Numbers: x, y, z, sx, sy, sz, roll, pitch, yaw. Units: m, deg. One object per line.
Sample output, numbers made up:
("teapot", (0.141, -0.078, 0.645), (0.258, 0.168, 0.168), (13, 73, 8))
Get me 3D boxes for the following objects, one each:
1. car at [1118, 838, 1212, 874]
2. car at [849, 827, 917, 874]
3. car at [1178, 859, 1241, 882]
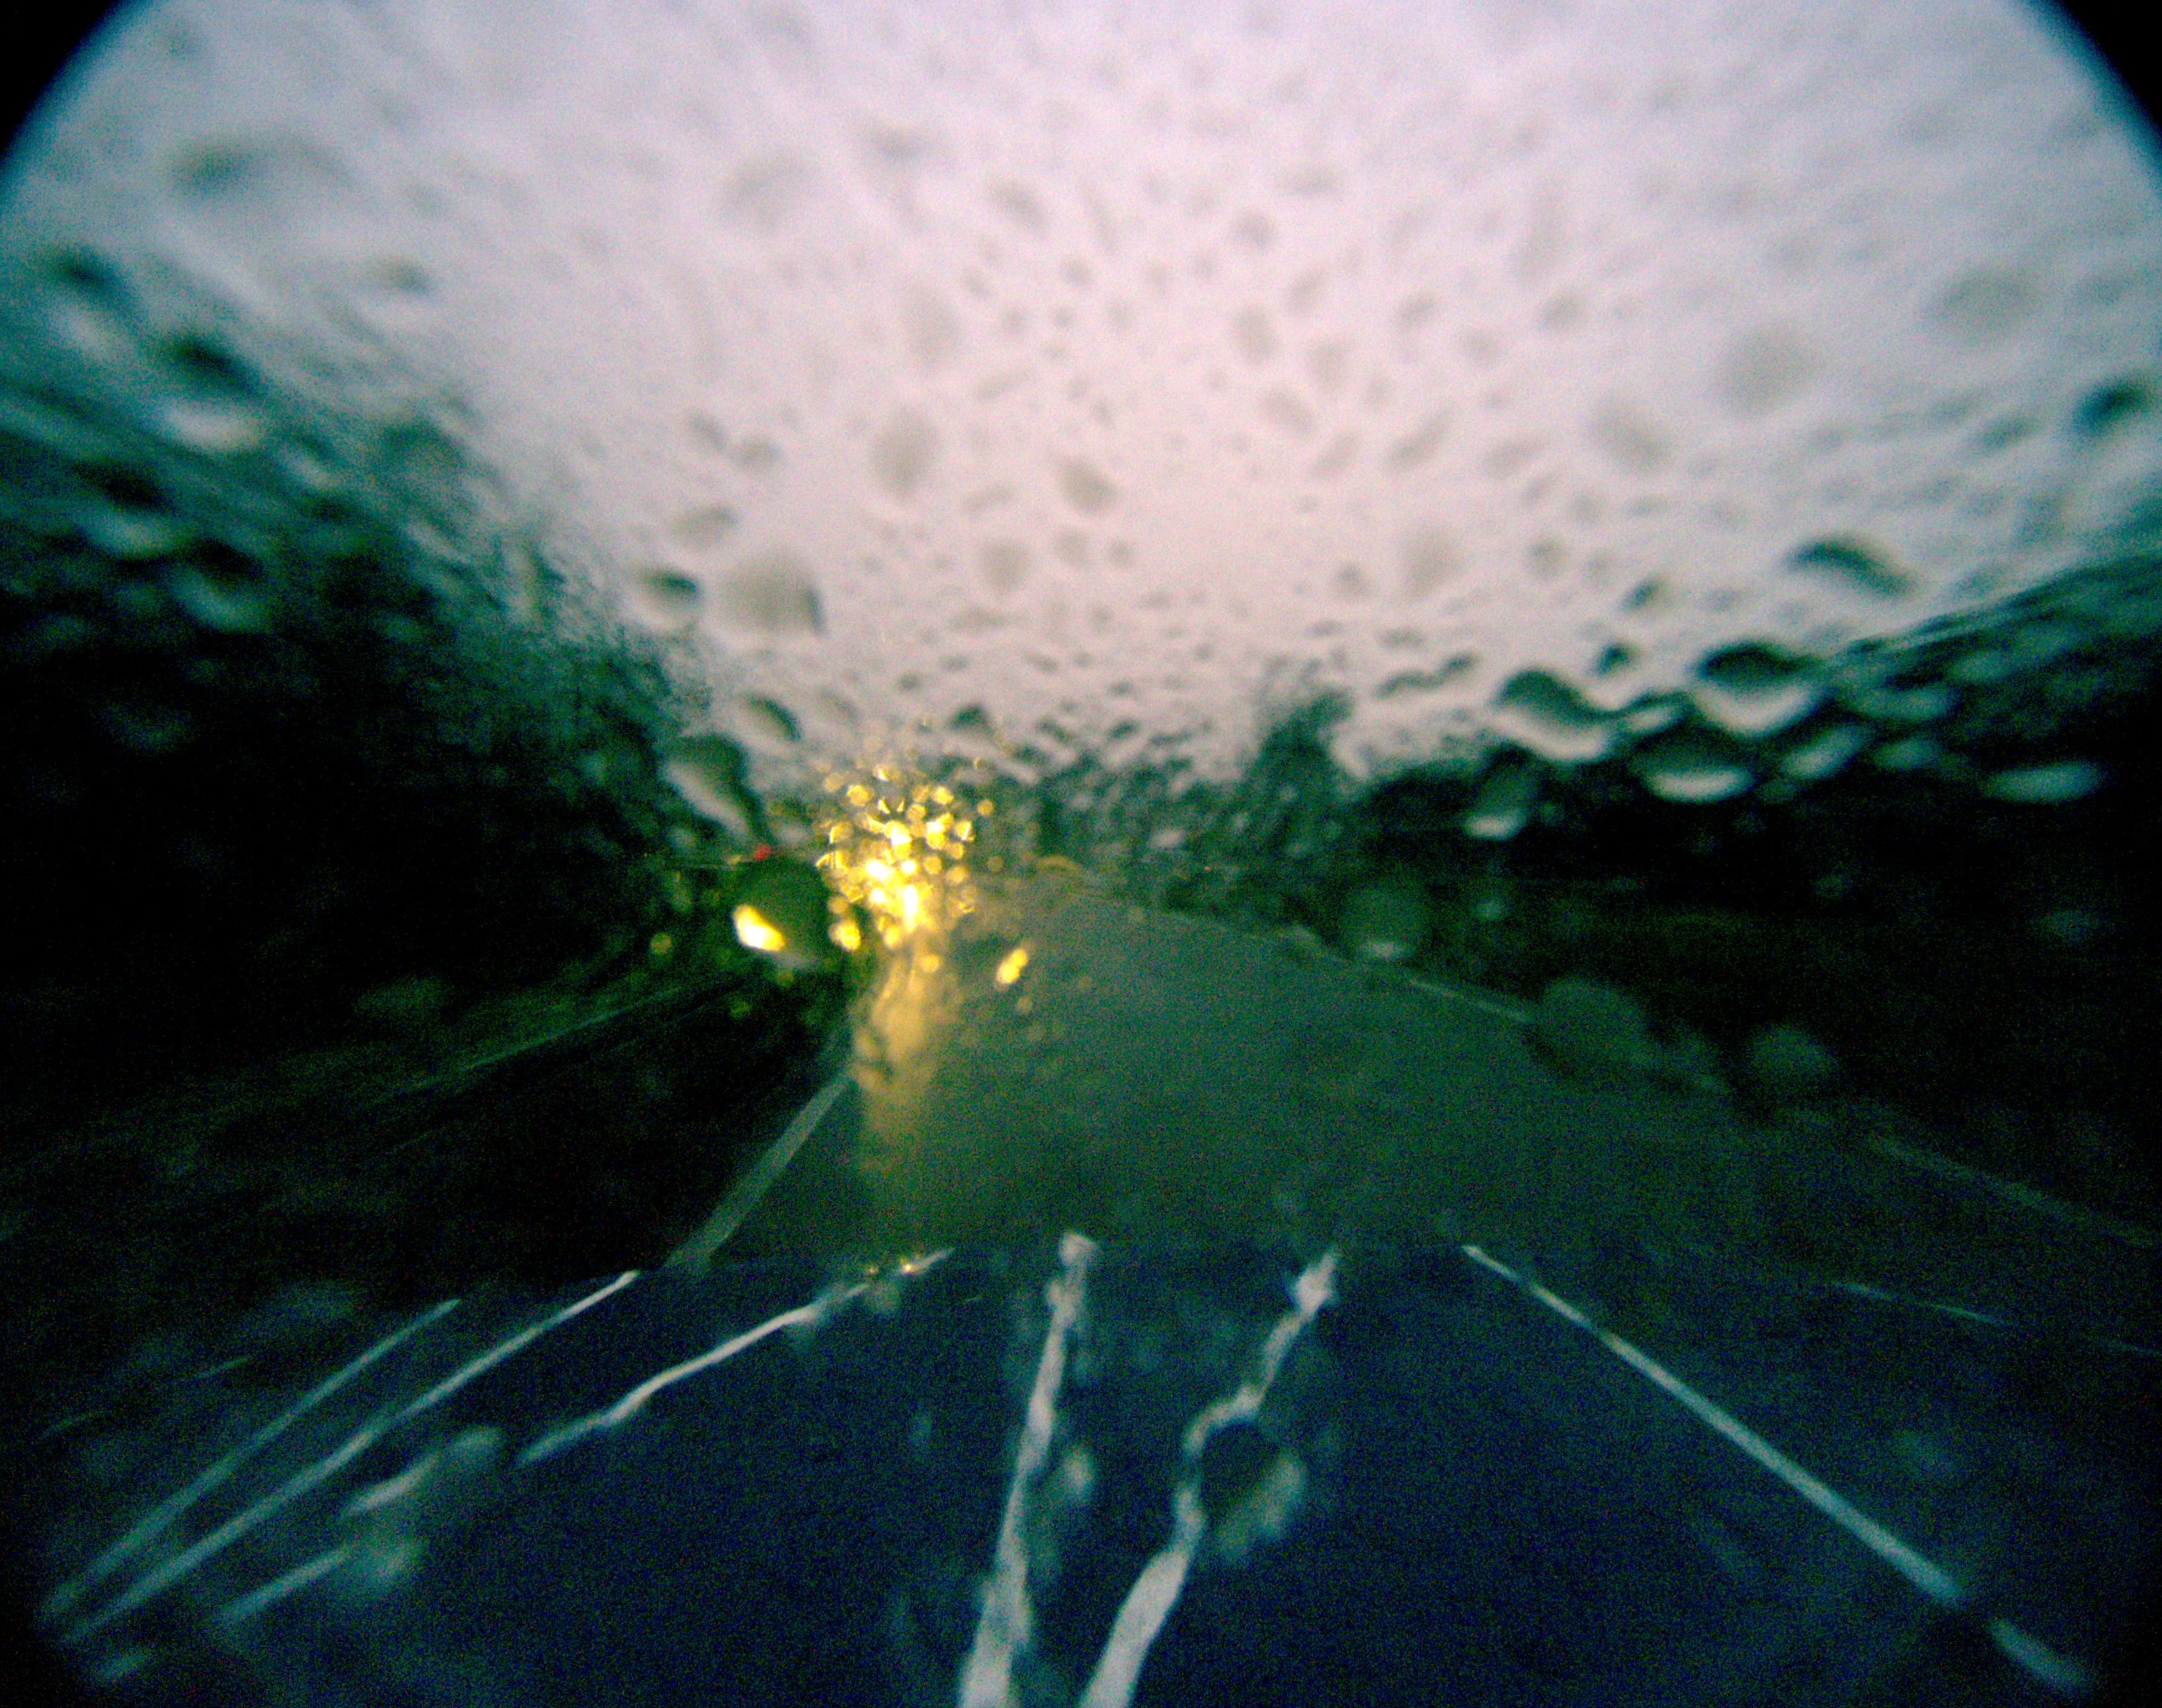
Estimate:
("car", (3.690, 0.076, 33.767), (3.862, 1.502, 1.659), (1, 0, 40))
("car", (-9.336, -0.122, 35.688), (2.004, 2.001, 3.954), (3, -1, -30))
("car", (9.204, 1.142, 54.580), (3.988, 1.549, 2.004), (0, 1, 42))
